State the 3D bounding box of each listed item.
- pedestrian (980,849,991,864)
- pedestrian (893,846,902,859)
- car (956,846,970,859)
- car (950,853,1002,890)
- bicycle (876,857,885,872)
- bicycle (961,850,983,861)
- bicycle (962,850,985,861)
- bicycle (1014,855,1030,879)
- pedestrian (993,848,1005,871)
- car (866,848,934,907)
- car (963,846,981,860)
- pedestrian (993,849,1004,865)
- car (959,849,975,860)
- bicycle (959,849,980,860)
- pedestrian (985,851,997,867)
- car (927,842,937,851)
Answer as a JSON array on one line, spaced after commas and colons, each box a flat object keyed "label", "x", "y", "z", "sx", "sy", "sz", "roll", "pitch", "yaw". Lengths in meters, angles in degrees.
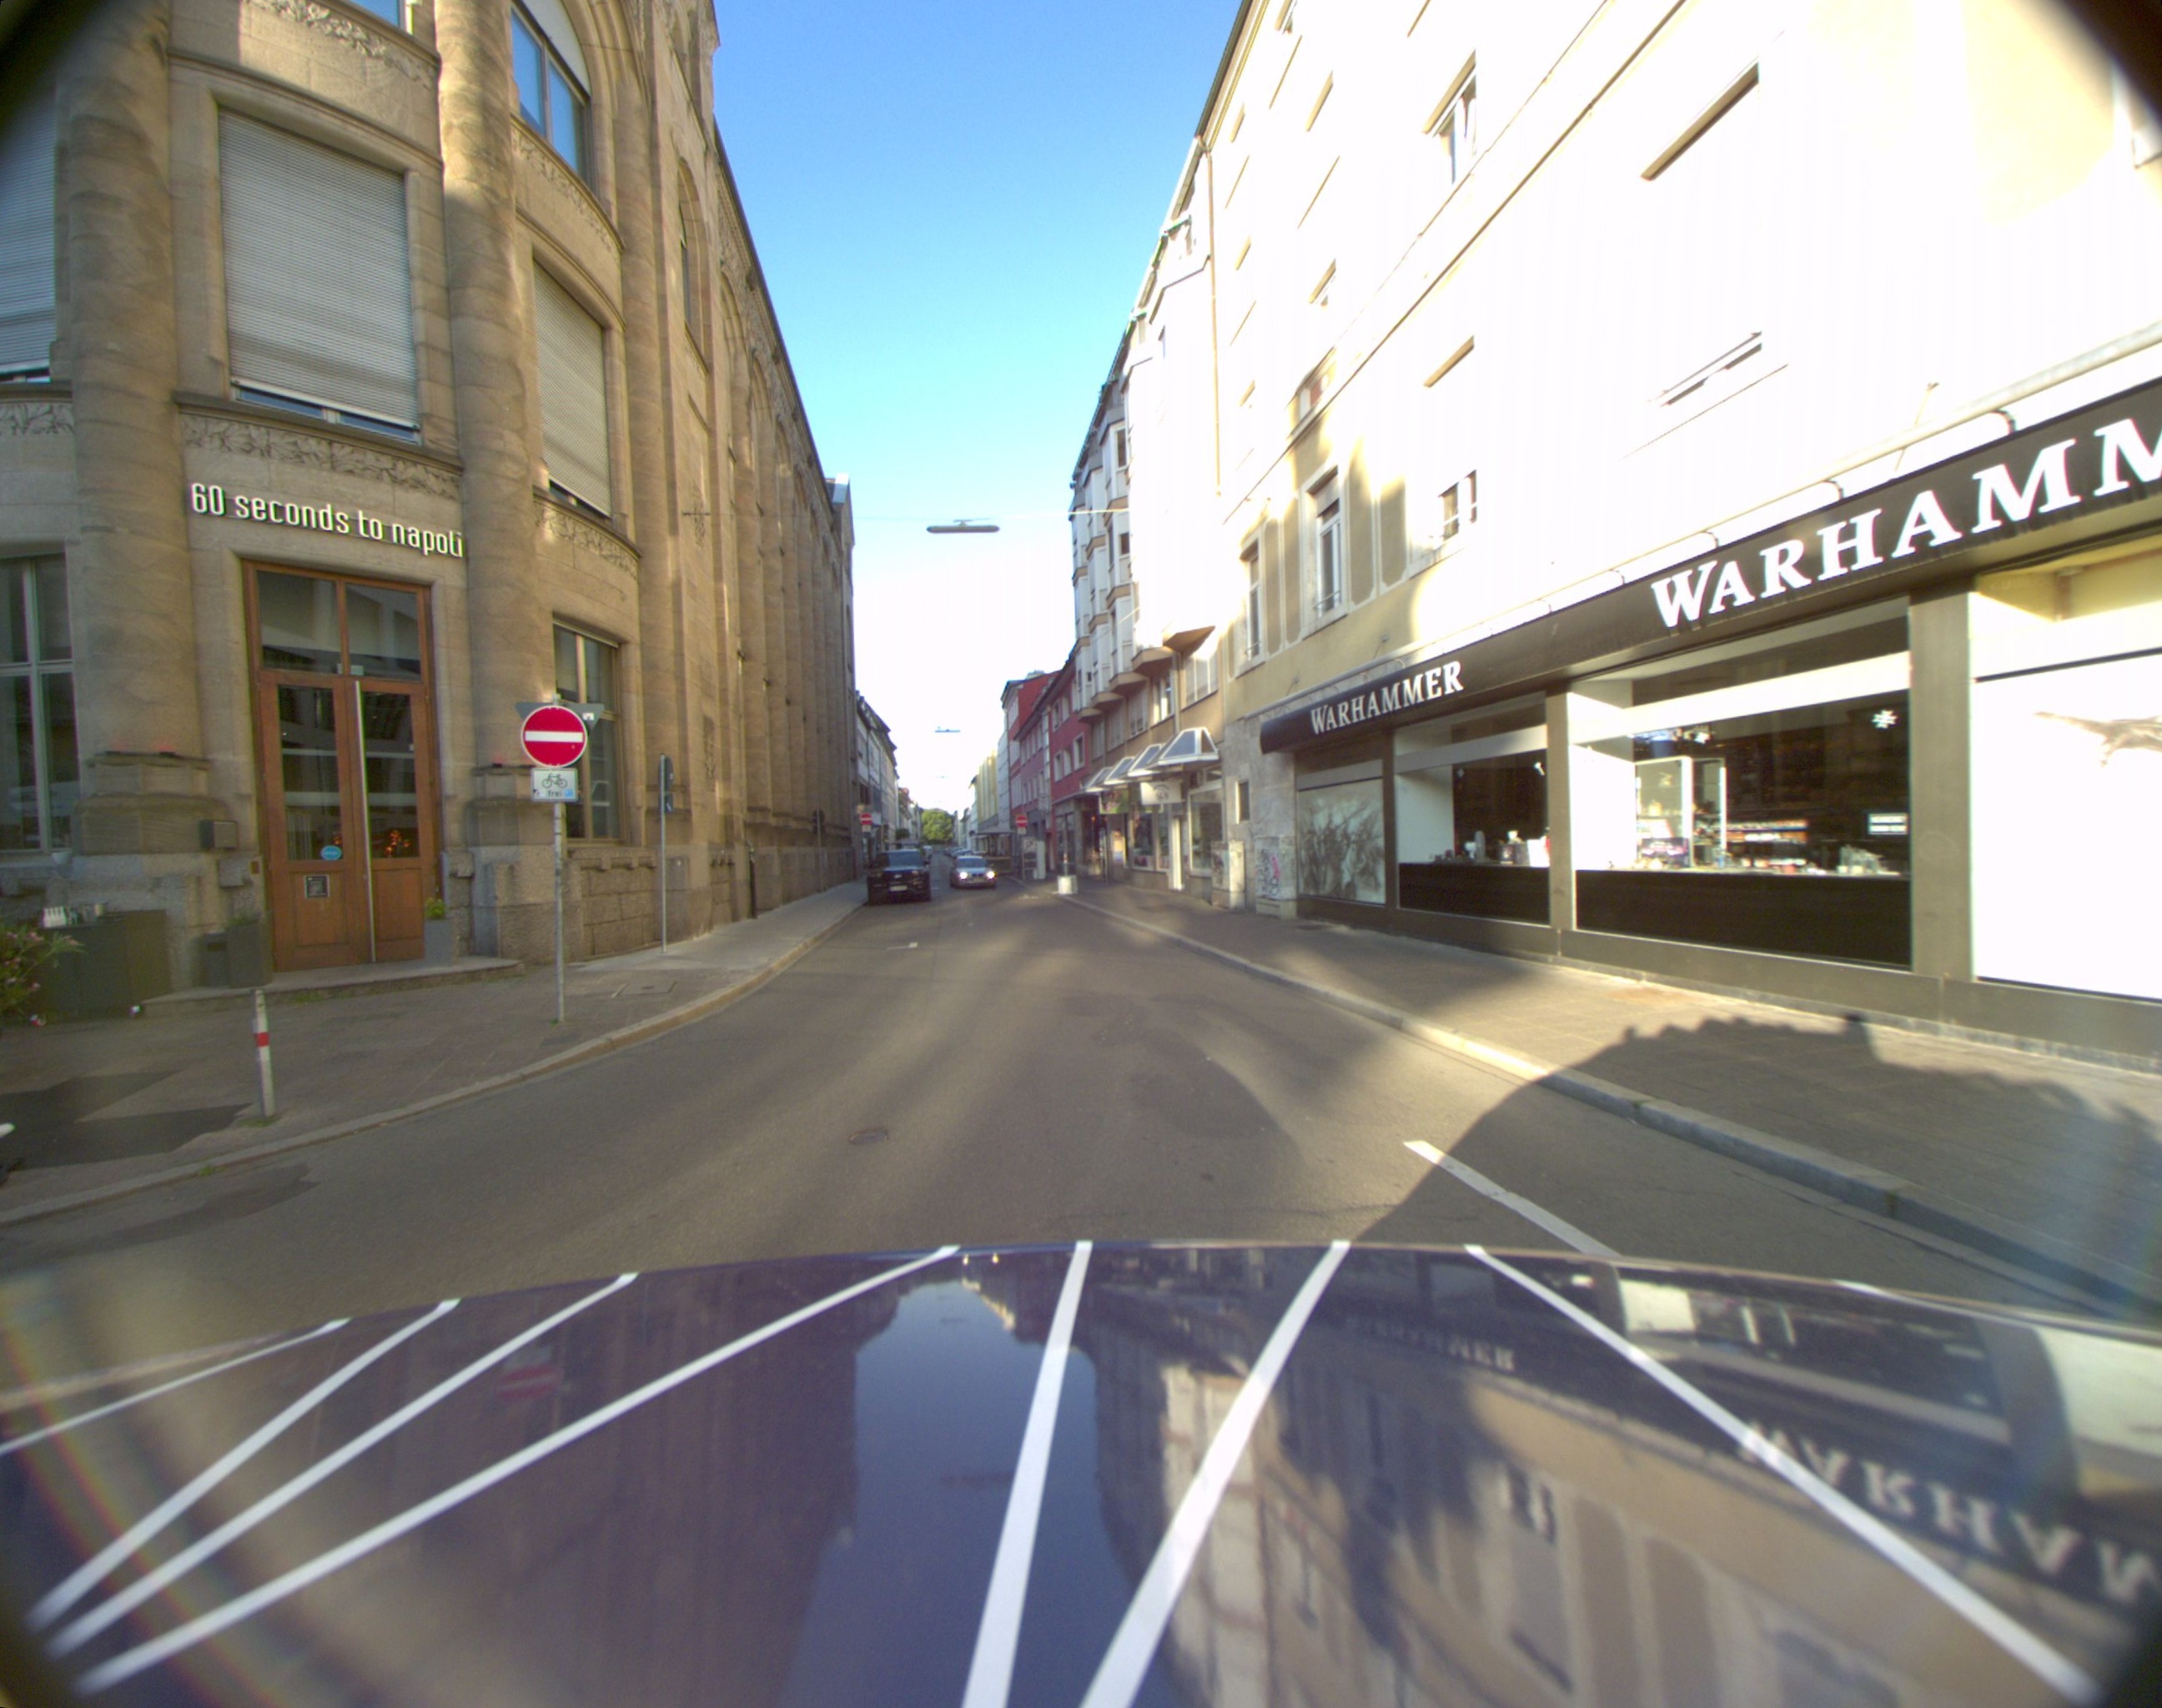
[{"label": "pedestrian", "x": -6.978, "y": 0.166, "z": 55.454, "sx": 0.634, "sy": 1.061, "sz": 0.559, "roll": -3, "pitch": 2, "yaw": -18}, {"label": "pedestrian", "x": -18.823, "y": -0.173, "z": 78.033, "sx": 0.737, "sy": 1.236, "sz": 0.645, "roll": -3, "pitch": 2, "yaw": -9}, {"label": "car", "x": -19.343, "y": -0.196, "z": 124.544, "sx": 2.000, "sy": 2.030, "sz": 4.454, "roll": -3, "pitch": 1, "yaw": -11}, {"label": "car", "x": -4.749, "y": 0.738, "z": 33.946, "sx": 2.000, "sy": 1.414, "sz": 4.454, "roll": -2, "pitch": 1, "yaw": -11}, {"label": "bicycle", "x": -14.771, "y": 0.760, "z": 56.052, "sx": 0.520, "sy": 1.084, "sz": 1.750, "roll": 2, "pitch": 0, "yaw": -11}, {"label": "bicycle", "x": -13.064, "y": 0.159, "z": 90.995, "sx": 2.483, "sy": 1.172, "sz": 0.783, "roll": -3, "pitch": 2, "yaw": -5}, {"label": "bicycle", "x": -12.307, "y": 0.133, "z": 87.068, "sx": 2.483, "sy": 1.172, "sz": 0.783, "roll": -3, "pitch": 2, "yaw": -5}, {"label": "bicycle", "x": -3.056, "y": 0.647, "z": 39.262, "sx": 0.545, "sy": 1.185, "sz": 1.840, "roll": -2, "pitch": 1, "yaw": -11}, {"label": "pedestrian", "x": -5.315, "y": 0.352, "z": 49.368, "sx": 0.612, "sy": 1.464, "sz": 0.546, "roll": -3, "pitch": 2, "yaw": -18}, {"label": "car", "x": -6.180, "y": 0.703, "z": 26.217, "sx": 2.000, "sy": 1.773, "sz": 4.928, "roll": -2, "pitch": 1, "yaw": -12}, {"label": "car", "x": -14.025, "y": -0.134, "z": 97.358, "sx": 2.000, "sy": 1.667, "sz": 4.454, "roll": -2, "pitch": 1, "yaw": -11}, {"label": "pedestrian", "x": -5.716, "y": 0.180, "z": 52.779, "sx": 0.603, "sy": 1.057, "sz": 0.546, "roll": -3, "pitch": 2, "yaw": -18}, {"label": "car", "x": -15.442, "y": 0.039, "z": 102.800, "sx": 2.000, "sy": 1.462, "sz": 4.454, "roll": -2, "pitch": 1, "yaw": -11}, {"label": "bicycle", "x": -13.774, "y": 0.050, "z": 93.774, "sx": 2.483, "sy": 1.323, "sz": 0.783, "roll": -3, "pitch": 2, "yaw": -5}, {"label": "pedestrian", "x": -6.142, "y": 0.327, "z": 51.881, "sx": 0.612, "sy": 1.057, "sz": 0.546, "roll": -3, "pitch": 2, "yaw": -18}, {"label": "car", "x": -34.662, "y": -1.789, "z": 176.788, "sx": 2.000, "sy": 1.884, "sz": 4.454, "roll": -2, "pitch": 1, "yaw": -11}]
